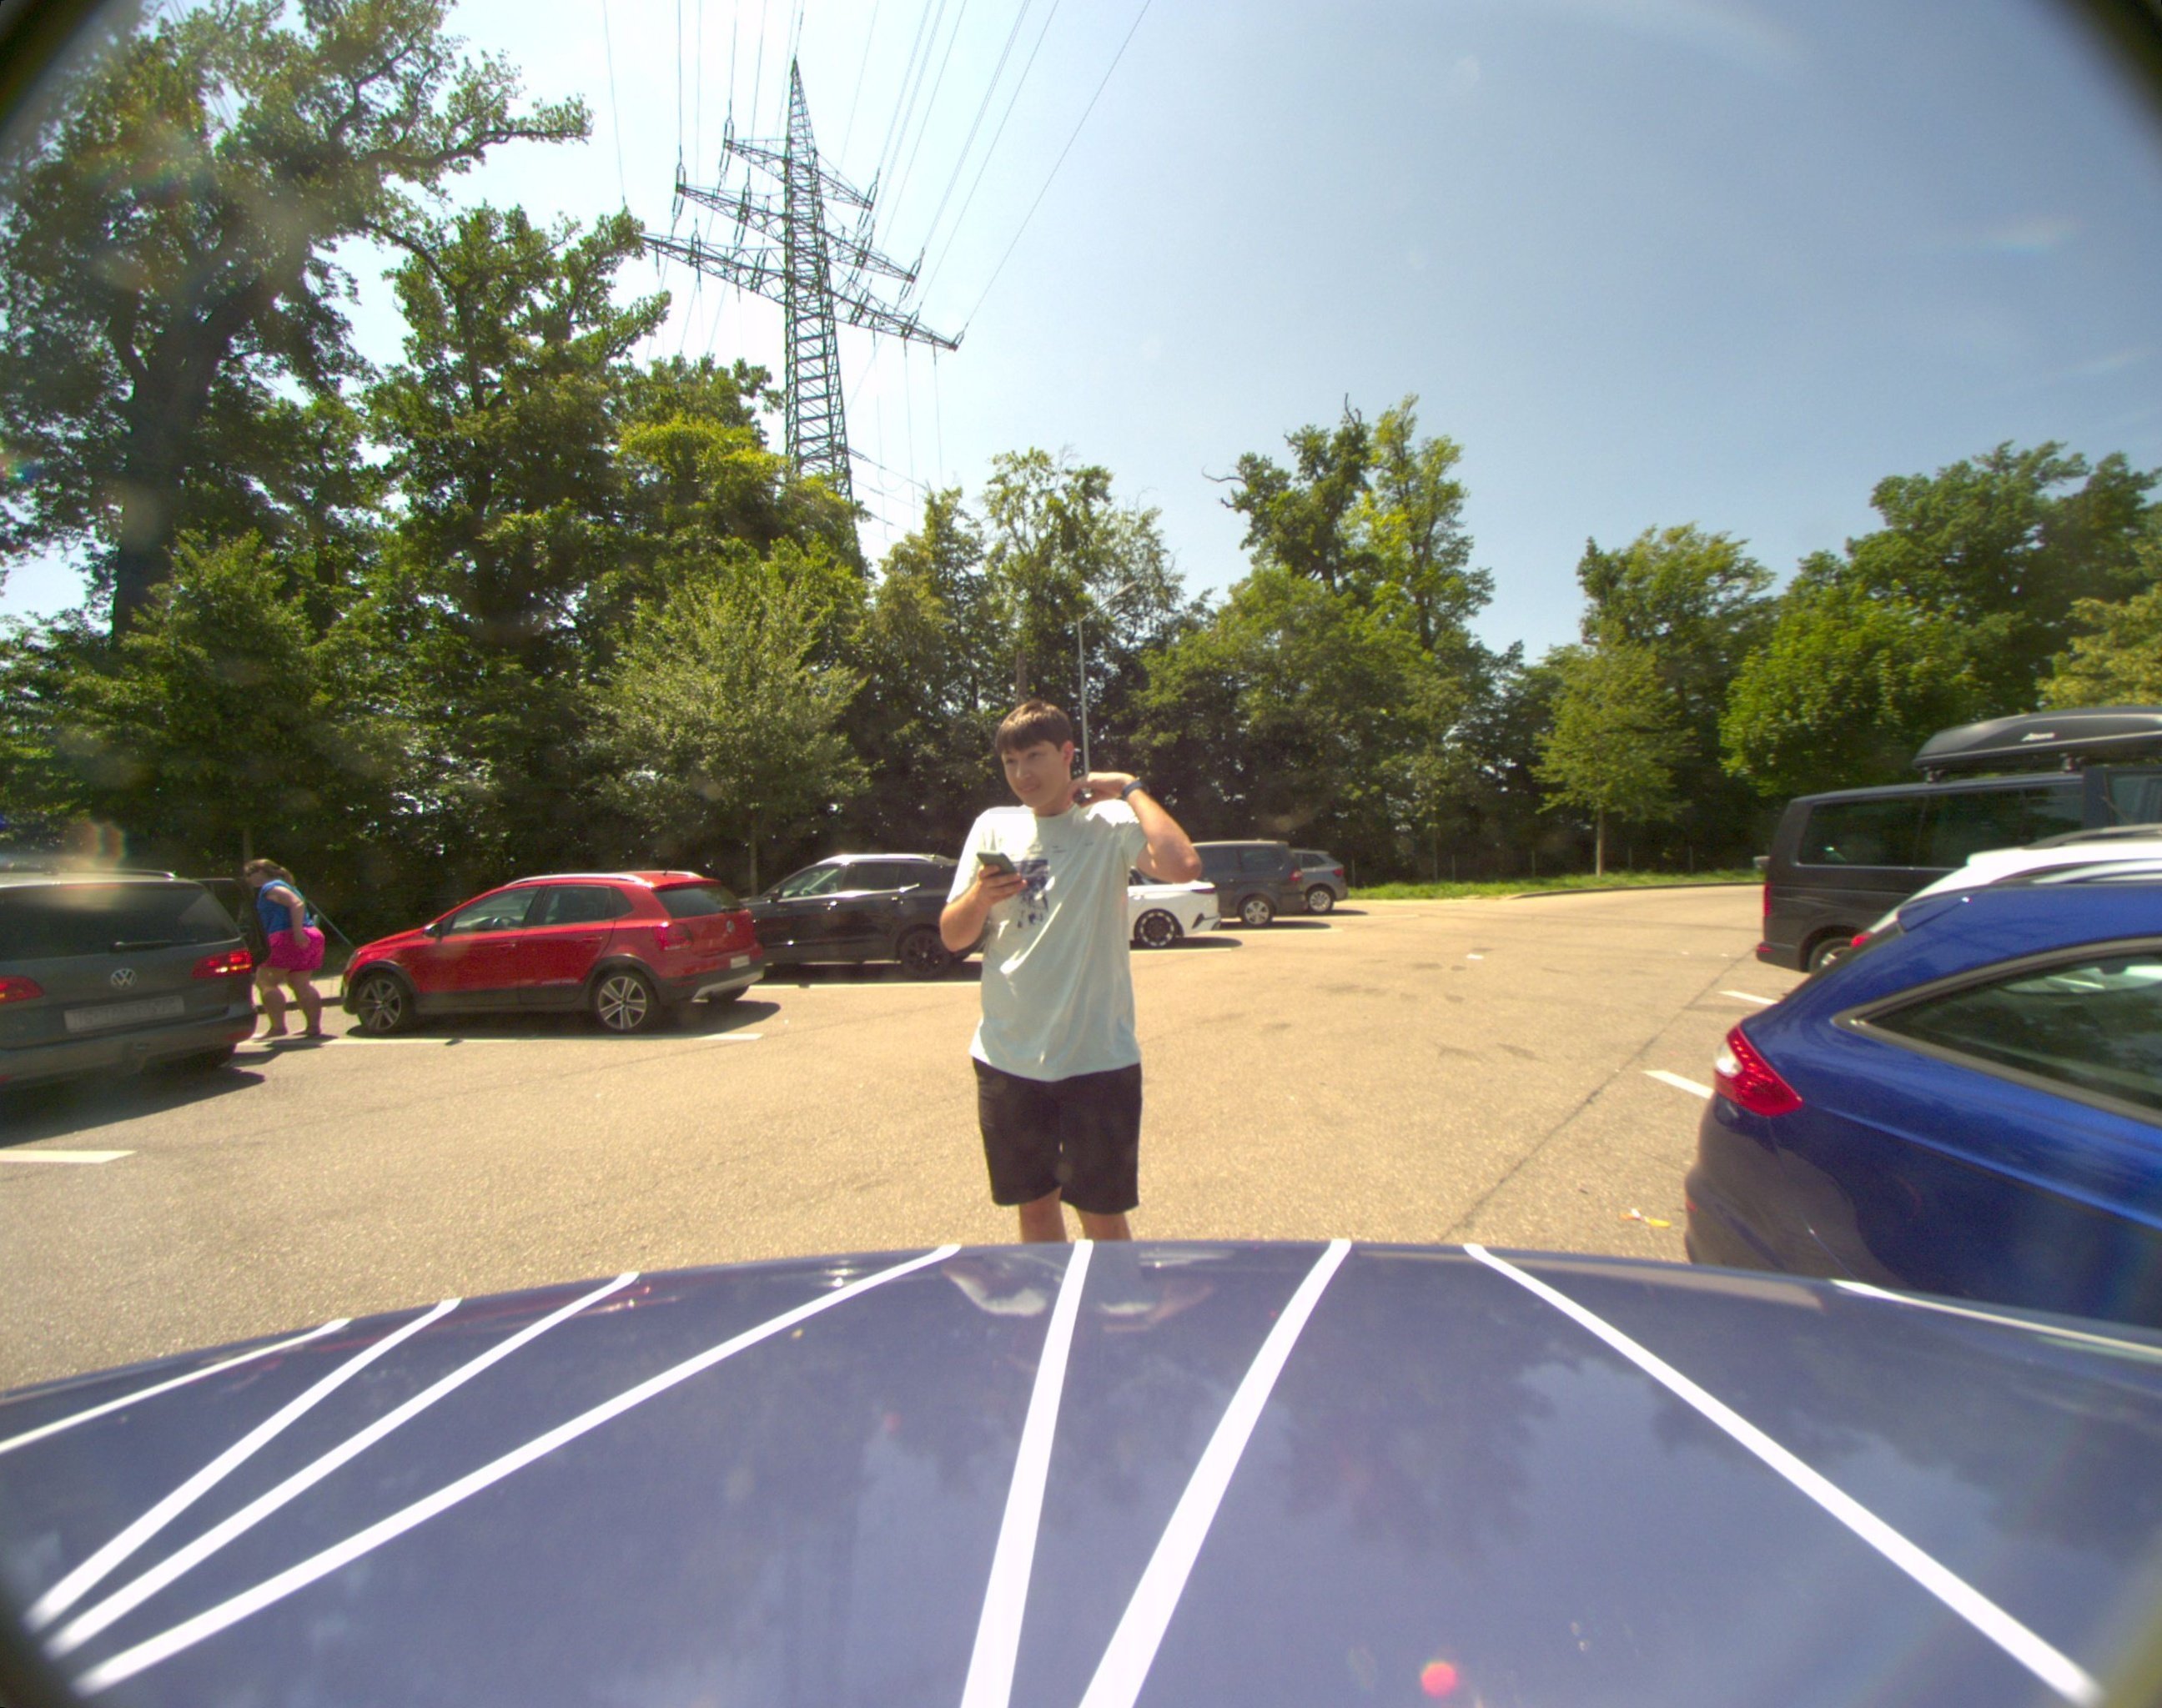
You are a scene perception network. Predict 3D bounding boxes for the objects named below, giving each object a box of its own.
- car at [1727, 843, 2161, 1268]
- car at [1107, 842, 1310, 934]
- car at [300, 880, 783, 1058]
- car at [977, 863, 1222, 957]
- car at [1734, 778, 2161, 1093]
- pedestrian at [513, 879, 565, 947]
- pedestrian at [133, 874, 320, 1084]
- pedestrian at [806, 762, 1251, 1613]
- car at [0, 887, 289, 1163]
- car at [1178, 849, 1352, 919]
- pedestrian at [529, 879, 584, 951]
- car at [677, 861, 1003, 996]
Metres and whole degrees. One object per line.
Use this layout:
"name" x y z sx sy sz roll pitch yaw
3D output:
"car" 4.865 0.727 2.282 1.741 1.524 4.642 -3 -1 -2
"car" 2.579 0.671 15.450 3.818 1.714 1.722 -1 1 12
"car" -5.248 1.062 7.648 3.785 1.457 1.722 -1 1 9
"car" 0.355 0.901 12.724 3.819 1.377 1.722 -1 1 6
"car" 7.313 0.442 4.912 1.961 1.858 4.642 -3 -1 -3
"pedestrian" -10.919 1.158 15.314 0.782 1.287 0.670 -1 2 45
"pedestrian" -7.583 1.044 6.806 0.735 1.672 0.918 -3 1 -24
"pedestrian" -0.101 0.734 1.950 0.890 1.831 0.622 -2 1 1
"car" -8.300 1.099 5.438 3.985 1.572 1.749 -1 1 12
"car" 4.331 0.696 18.153 3.818 1.530 1.722 -1 1 12
"pedestrian" -10.009 1.132 14.498 0.782 1.287 0.670 -1 2 45
"car" -3.075 0.935 10.258 3.787 1.564 1.721 -1 1 2
